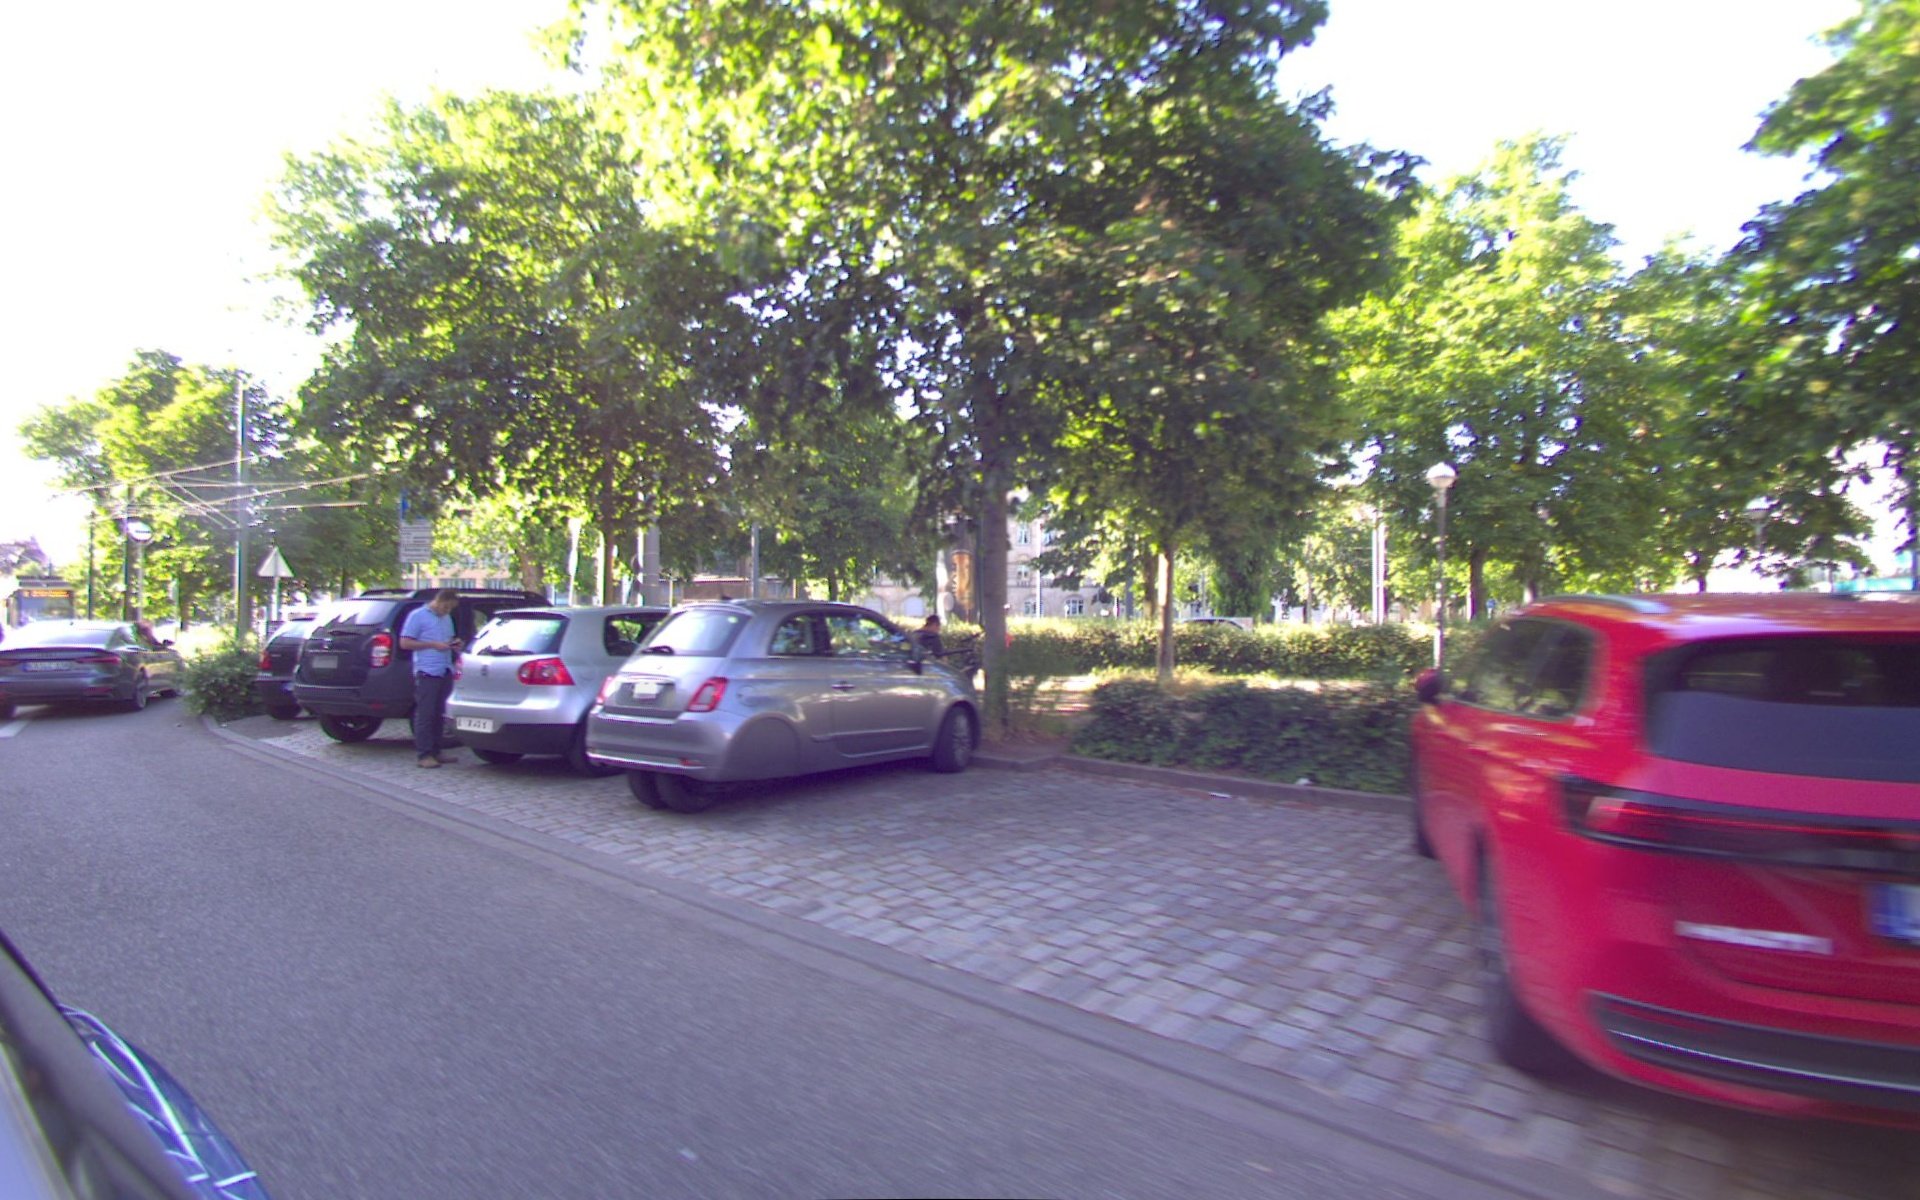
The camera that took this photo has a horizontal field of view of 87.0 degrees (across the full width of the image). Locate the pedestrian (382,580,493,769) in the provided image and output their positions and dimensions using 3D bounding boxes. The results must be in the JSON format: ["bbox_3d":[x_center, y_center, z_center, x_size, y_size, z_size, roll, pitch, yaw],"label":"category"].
[{"bbox_3d":[-4.829,0.652,9.360,0.645,1.662,0.693,0,0,36],"label":"pedestrian"}]

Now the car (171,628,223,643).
[{"bbox_3d":[-86.432,4.024,114.640,5.041,1.747,2.095,-1,-1,17],"label":"car"}]

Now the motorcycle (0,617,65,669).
[{"bbox_3d":[-25.974,1.181,28.230,1.747,1.384,0.743,0,0,19],"label":"motorcycle"}]

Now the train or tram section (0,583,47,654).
[{"bbox_3d":[-54.404,1.094,57.171,13.632,3.640,2.917,-2,-1,42],"label":"train or tram section"}]

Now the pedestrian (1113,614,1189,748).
[{"bbox_3d":[1.962,0.796,10.337,0.656,1.276,0.786,0,0,19],"label":"pedestrian"}]

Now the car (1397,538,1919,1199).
[{"bbox_3d":[2.897,0.613,3.993,1.751,1.499,4.821,0,0,19],"label":"car"}]

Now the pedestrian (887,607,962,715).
[{"bbox_3d":[-0.434,0.729,12.444,0.698,1.269,0.640,0,0,28],"label":"pedestrian"}]

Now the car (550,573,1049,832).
[{"bbox_3d":[-1.089,0.620,8.391,1.748,1.610,3.948,0,1,39],"label":"car"}]

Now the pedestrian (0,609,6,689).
[{"bbox_3d":[-20.742,1.034,21.522,0.693,1.685,0.629,0,0,43],"label":"pedestrian"}]

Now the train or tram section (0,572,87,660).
[{"bbox_3d":[-44.684,0.810,48.396,13.182,3.713,2.917,-2,-1,42],"label":"train or tram section"}]

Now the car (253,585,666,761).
[{"bbox_3d":[-5.611,0.698,11.888,1.990,1.680,3.964,-1,0,26],"label":"car"}]

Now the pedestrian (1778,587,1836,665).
[{"bbox_3d":[16.358,0.497,19.554,0.667,1.476,0.556,0,0,14],"label":"pedestrian"}]

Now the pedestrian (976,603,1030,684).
[{"bbox_3d":[0.855,0.836,19.912,0.948,1.533,0.767,0,0,12],"label":"pedestrian"}]

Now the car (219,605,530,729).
[{"bbox_3d":[-8.191,0.841,14.640,1.853,1.481,3.991,0,0,8],"label":"car"}]

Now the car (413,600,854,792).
[{"bbox_3d":[-2.990,0.749,10.055,1.798,1.459,3.956,0,1,32],"label":"car"}]

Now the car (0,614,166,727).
[{"bbox_3d":[-13.917,0.991,15.979,1.886,1.427,4.823,-1,1,-35],"label":"car"}]

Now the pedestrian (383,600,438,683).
[{"bbox_3d":[-11.555,0.861,21.312,0.794,1.712,0.670,0,0,1],"label":"pedestrian"}]
